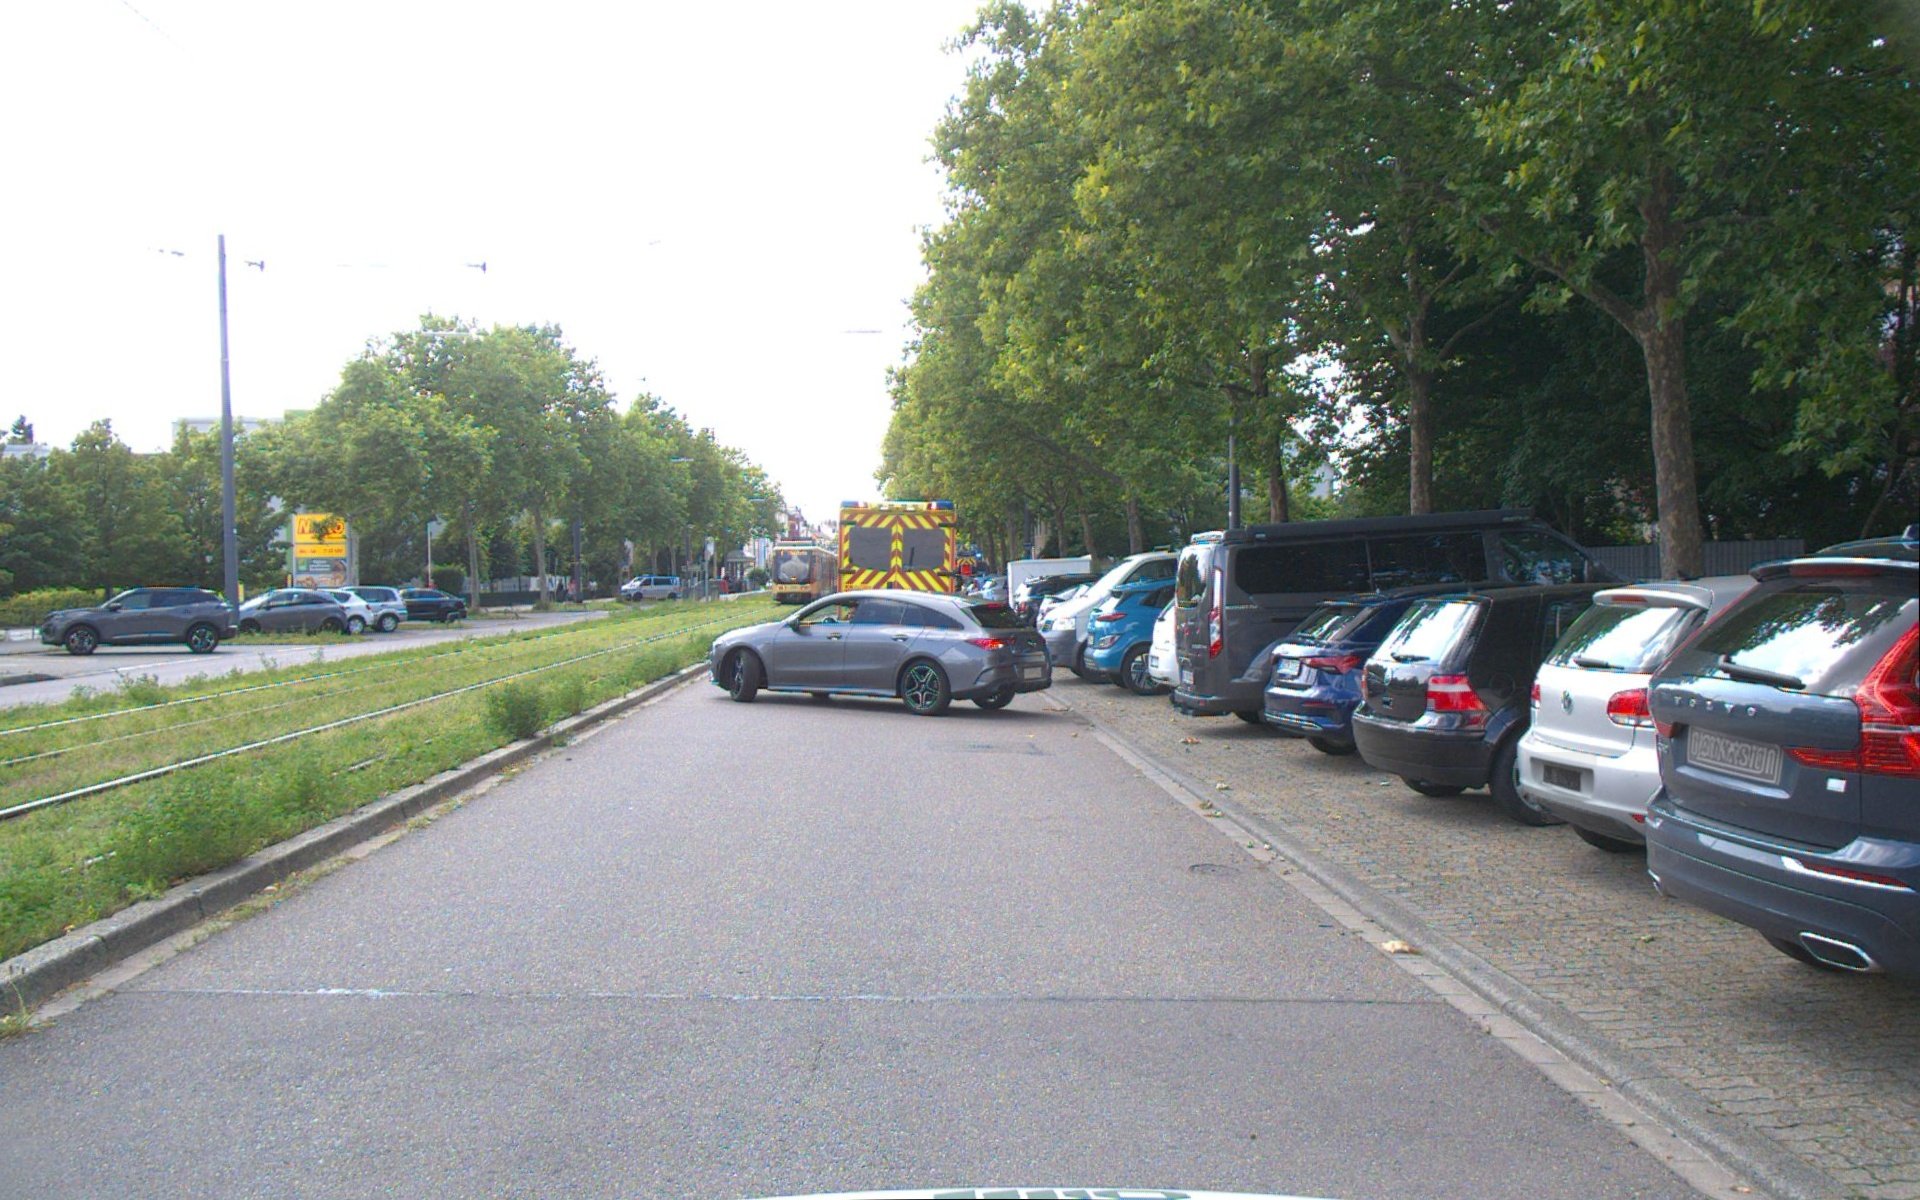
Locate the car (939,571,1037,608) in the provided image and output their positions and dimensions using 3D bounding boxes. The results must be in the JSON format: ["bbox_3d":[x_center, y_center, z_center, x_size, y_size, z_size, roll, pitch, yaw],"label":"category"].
[{"bbox_3d":[1.309,-0.502,78.793,4.458,1.636,1.853,-2,1,-6],"label":"car"}]

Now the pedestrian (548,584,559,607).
[{"bbox_3d":[-25.579,-0.293,104.081,0.412,1.439,0.467,-1,1,22],"label":"pedestrian"}]

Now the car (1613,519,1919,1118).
[{"bbox_3d":[4.682,0.537,5.520,4.292,1.668,1.756,-2,1,-1],"label":"car"}]

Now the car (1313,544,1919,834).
[{"bbox_3d":[4.552,0.498,11.073,3.897,1.633,1.750,-2,1,-13],"label":"car"}]

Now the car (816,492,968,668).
[{"bbox_3d":[-1.235,-0.371,32.412,2.588,3.018,6.298,2,0,-1],"label":"car"}]

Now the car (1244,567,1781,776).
[{"bbox_3d":[4.513,0.554,13.889,3.886,1.520,1.755,-2,0,-3],"label":"car"}]

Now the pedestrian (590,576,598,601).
[{"bbox_3d":[-26.921,-0.832,121.580,0.457,1.860,0.422,-1,0,-4],"label":"pedestrian"}]

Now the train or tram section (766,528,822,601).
[{"bbox_3d":[-8.824,-1.820,88.601,2.462,3.646,7.441,-2,0,-3],"label":"train or tram section"}]

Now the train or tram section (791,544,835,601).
[{"bbox_3d":[-9.808,-1.783,110.890,2.462,3.646,7.441,-2,0,-3],"label":"train or tram section"}]

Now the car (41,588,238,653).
[{"bbox_3d":[-19.749,0.466,39.919,4.171,1.508,1.867,0,0,-27],"label":"car"}]

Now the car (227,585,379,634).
[{"bbox_3d":[-20.994,0.295,52.907,4.192,1.508,1.858,0,0,-38],"label":"car"}]

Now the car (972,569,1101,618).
[{"bbox_3d":[2.785,-0.254,60.762,4.458,1.636,1.853,-2,1,-6],"label":"car"}]

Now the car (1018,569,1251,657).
[{"bbox_3d":[3.540,0.244,34.066,4.458,1.636,1.853,-2,1,-6],"label":"car"}]

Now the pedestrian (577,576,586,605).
[{"bbox_3d":[-22.509,-0.566,98.328,0.413,1.760,0.467,-1,0,-7],"label":"pedestrian"}]

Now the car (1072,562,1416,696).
[{"bbox_3d":[3.965,0.376,23.476,4.459,1.689,1.853,-2,1,-7],"label":"car"}]

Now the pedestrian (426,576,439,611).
[{"bbox_3d":[-26.509,-0.332,83.096,0.457,1.706,0.603,-1,1,-4],"label":"pedestrian"}]

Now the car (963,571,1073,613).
[{"bbox_3d":[2.462,-0.367,70.604,4.458,1.636,1.853,-2,1,-6],"label":"car"}]

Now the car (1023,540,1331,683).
[{"bbox_3d":[3.348,0.157,25.986,4.458,2.035,1.853,-2,1,-6],"label":"car"}]

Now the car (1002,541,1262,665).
[{"bbox_3d":[3.121,0.040,30.573,4.458,2.079,1.853,-2,1,-6],"label":"car"}]

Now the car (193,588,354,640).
[{"bbox_3d":[-20.716,0.392,49.999,4.192,1.508,1.858,0,0,-38],"label":"car"}]

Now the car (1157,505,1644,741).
[{"bbox_3d":[4.415,0.203,17.024,4.455,2.160,1.855,-2,1,-3],"label":"car"}]

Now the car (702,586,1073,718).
[{"bbox_3d":[-0.950,0.578,20.601,4.372,1.409,1.763,2,1,31],"label":"car"}]

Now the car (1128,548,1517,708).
[{"bbox_3d":[4.503,0.325,20.964,4.455,1.797,1.855,-2,1,-3],"label":"car"}]

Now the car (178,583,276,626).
[{"bbox_3d":[-32.385,0.171,73.031,3.912,1.780,1.997,2,1,29],"label":"car"}]

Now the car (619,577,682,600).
[{"bbox_3d":[-24.038,-0.881,128.583,4.588,1.661,1.855,-2,1,-42],"label":"car"}]

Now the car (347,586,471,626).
[{"bbox_3d":[-21.349,0.222,64.133,4.199,1.508,1.854,0,0,-42],"label":"car"}]

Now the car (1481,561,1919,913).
[{"bbox_3d":[4.875,0.569,8.365,3.886,1.520,1.755,-2,1,-3],"label":"car"}]

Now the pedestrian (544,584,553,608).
[{"bbox_3d":[-25.440,-0.264,102.239,0.413,1.499,0.467,-1,1,-7],"label":"pedestrian"}]

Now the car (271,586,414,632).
[{"bbox_3d":[-20.872,0.280,55.945,4.192,1.508,1.858,0,0,-38],"label":"car"}]

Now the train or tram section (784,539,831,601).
[{"bbox_3d":[-9.487,-1.796,103.457,2.462,3.646,7.441,-2,0,-3],"label":"train or tram section"}]

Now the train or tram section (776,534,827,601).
[{"bbox_3d":[-9.160,-1.808,96.022,2.462,3.646,7.441,-2,0,-3],"label":"train or tram section"}]

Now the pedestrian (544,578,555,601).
[{"bbox_3d":[-27.530,-0.701,110.972,0.620,1.578,0.621,-1,1,-5],"label":"pedestrian"}]

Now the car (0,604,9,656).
[{"bbox_3d":[-31.097,0.878,49.769,3.905,1.592,1.777,1,0,0],"label":"car"}]

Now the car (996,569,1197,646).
[{"bbox_3d":[3.193,0.160,39.210,4.458,1.636,1.853,-2,1,-6],"label":"car"}]
